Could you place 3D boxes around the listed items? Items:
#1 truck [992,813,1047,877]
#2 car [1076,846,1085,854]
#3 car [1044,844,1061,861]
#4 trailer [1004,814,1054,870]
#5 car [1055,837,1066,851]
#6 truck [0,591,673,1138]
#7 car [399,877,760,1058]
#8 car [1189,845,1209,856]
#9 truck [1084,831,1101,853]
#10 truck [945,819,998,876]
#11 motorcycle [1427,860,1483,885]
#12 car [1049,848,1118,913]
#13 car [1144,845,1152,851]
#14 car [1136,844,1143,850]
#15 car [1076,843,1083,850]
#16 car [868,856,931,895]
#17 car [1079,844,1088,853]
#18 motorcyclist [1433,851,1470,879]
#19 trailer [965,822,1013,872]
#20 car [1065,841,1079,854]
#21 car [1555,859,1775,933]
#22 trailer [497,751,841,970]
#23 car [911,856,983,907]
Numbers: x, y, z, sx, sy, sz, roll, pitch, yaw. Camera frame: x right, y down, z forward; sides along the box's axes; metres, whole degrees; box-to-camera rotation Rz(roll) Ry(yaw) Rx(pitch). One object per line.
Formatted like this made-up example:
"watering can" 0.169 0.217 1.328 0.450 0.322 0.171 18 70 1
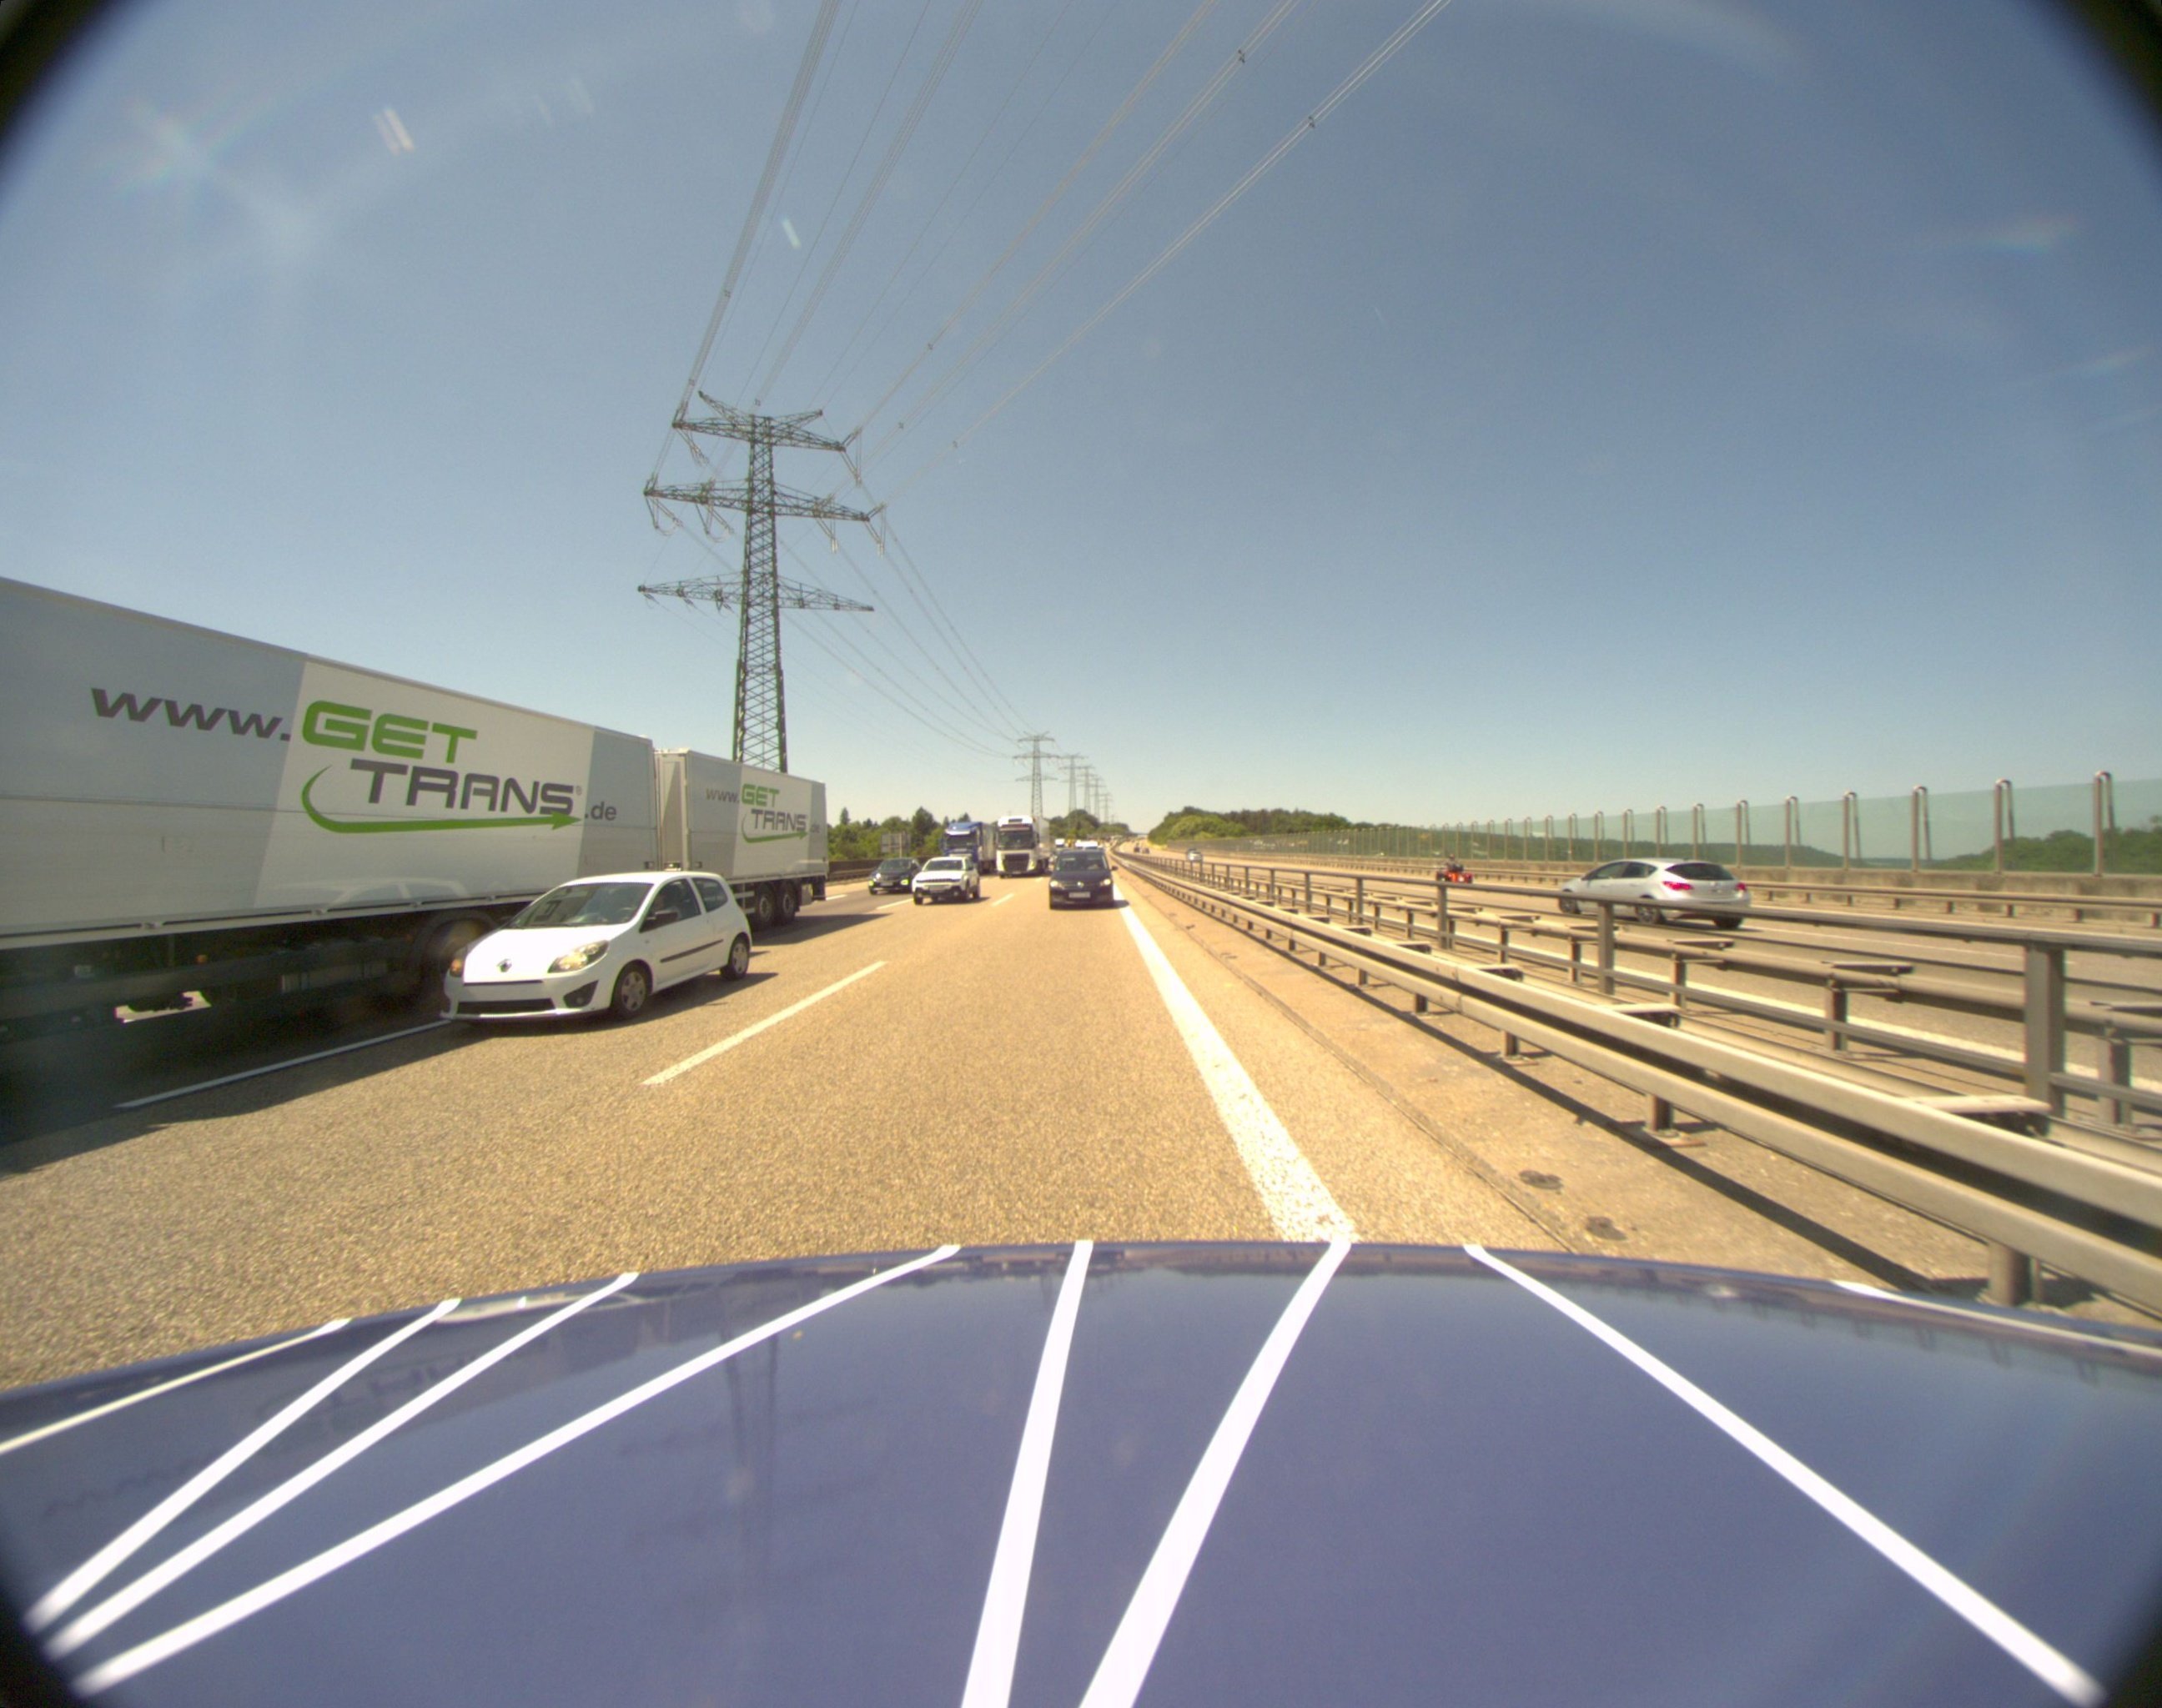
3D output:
"truck" -3.958 -0.621 50.393 2.914 3.870 6.739 -2 1 1
"car" -0.089 -0.805 157.058 1.701 1.599 3.639 -2 1 1
"car" -3.202 -0.157 86.272 1.672 1.761 3.846 -2 1 1
"trailer" -3.873 -0.922 58.625 2.898 3.847 9.772 -2 1 1
"car" -4.950 -2.489 182.519 2.273 3.304 6.288 -2 1 1
"truck" -8.454 0.087 7.359 2.858 3.582 10.768 -2 1 1
"car" -5.261 1.073 8.629 1.583 1.432 3.629 -2 1 1
"car" 15.101 -0.449 97.218 1.915 1.386 4.164 0 1 1
"truck" 1.562 -1.581 100.141 2.100 2.700 5.864 -2 1 1
"truck" -8.110 -0.492 57.167 2.517 3.945 7.927 -2 1 1
"motorcycle" 17.537 0.842 35.739 1.369 1.093 2.576 1 1 1
"car" 0.086 0.676 21.645 1.739 1.607 3.911 -2 1 0
"car" 17.663 -1.653 200.858 1.759 1.538 3.999 1 1 1
"car" 16.822 -2.129 218.740 1.759 1.711 4.101 0 1 1
"car" -0.349 -2.144 213.014 1.781 2.002 3.999 -2 1 1
"car" -7.942 0.905 33.534 1.709 1.497 3.888 -2 1 1
"car" 0.638 -1.405 188.812 1.890 2.002 3.999 -2 1 1
"motorcyclist" 17.514 0.514 35.920 1.189 1.249 1.119 1 1 1
"trailer" -7.885 -0.678 66.582 2.543 3.971 10.884 -2 1 1
"car" -1.459 -1.046 122.576 1.998 2.002 3.999 -2 1 1
"car" 12.742 0.833 16.968 1.719 1.426 4.176 0 0 1
"trailer" -8.238 0.073 16.936 2.851 3.574 8.291 -2 1 1
"car" -4.488 0.867 26.039 1.722 1.526 3.753 -2 1 0
